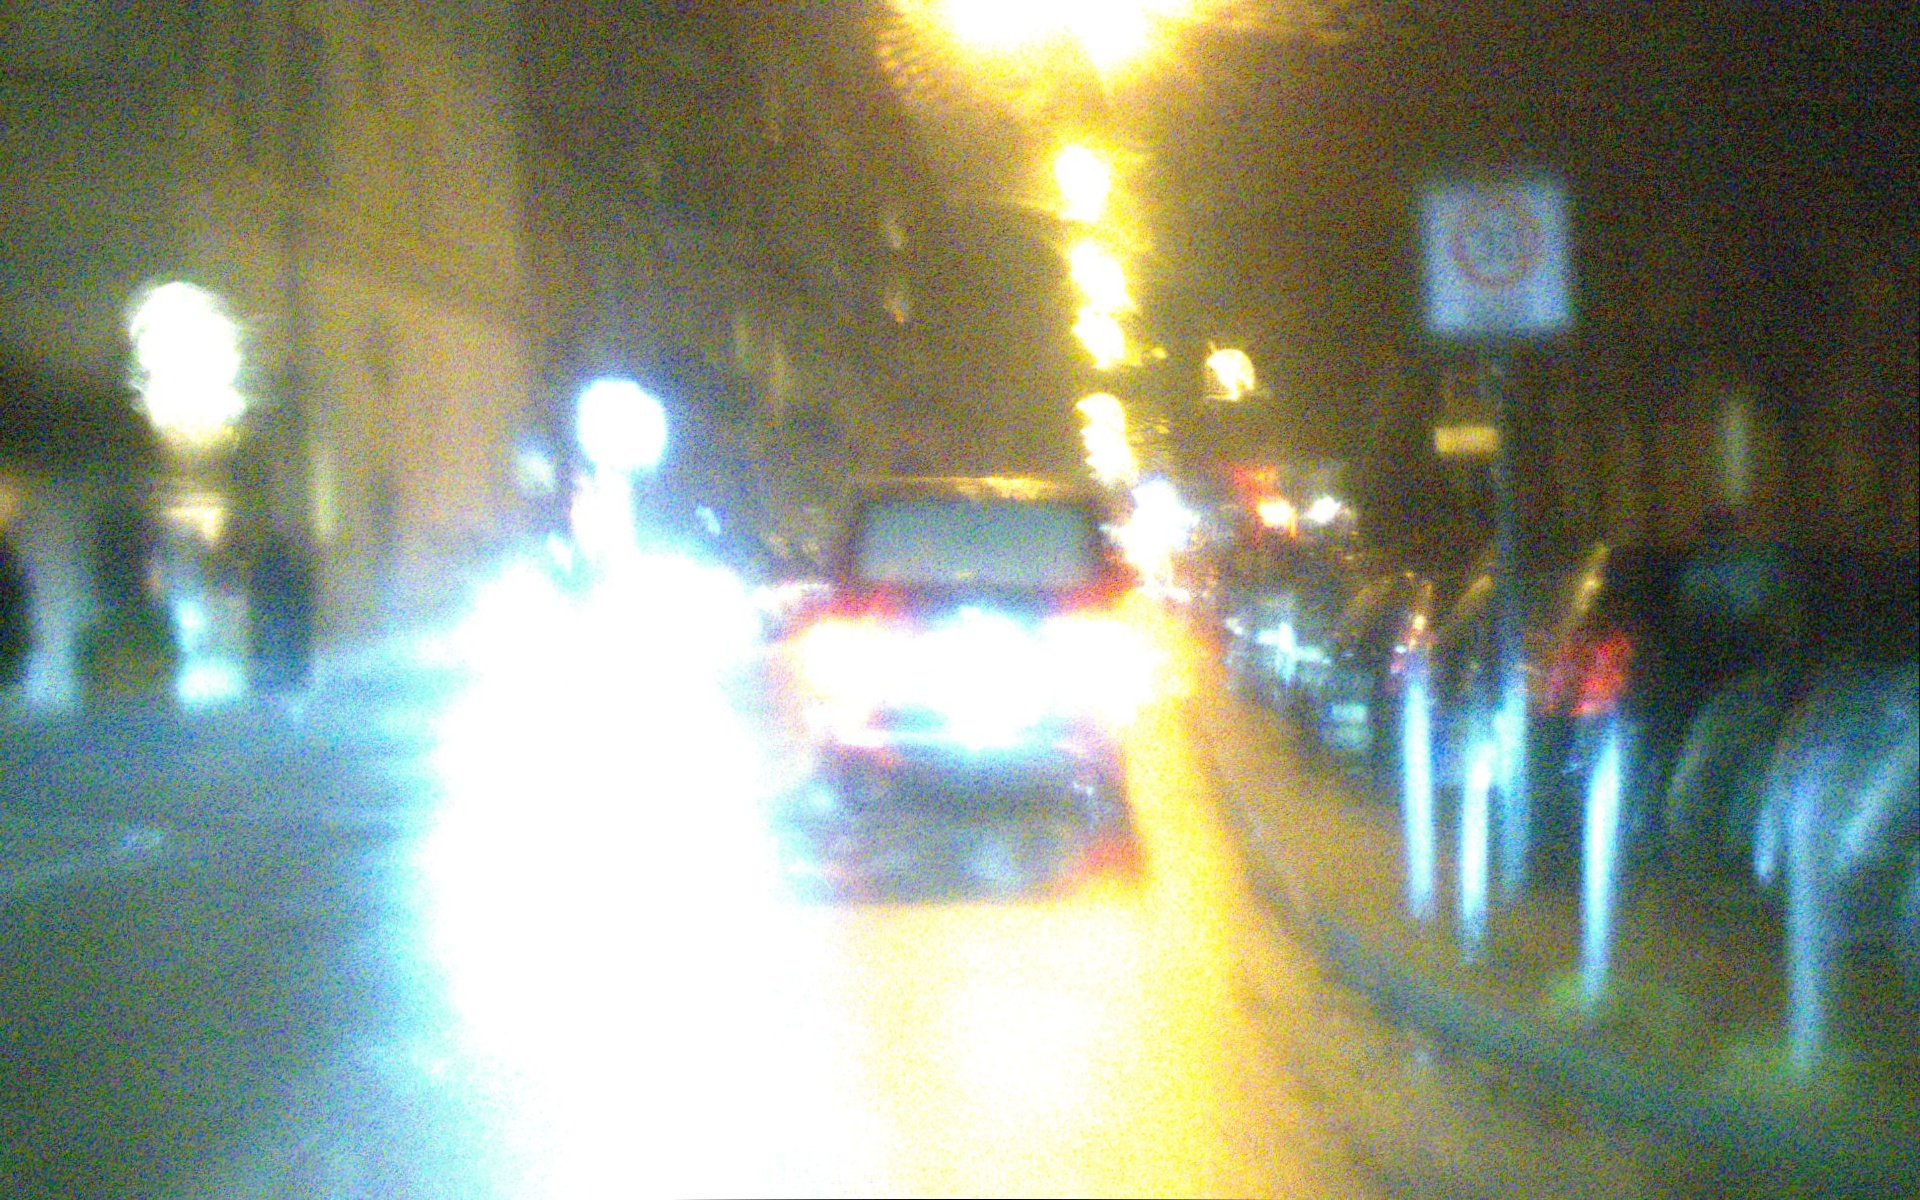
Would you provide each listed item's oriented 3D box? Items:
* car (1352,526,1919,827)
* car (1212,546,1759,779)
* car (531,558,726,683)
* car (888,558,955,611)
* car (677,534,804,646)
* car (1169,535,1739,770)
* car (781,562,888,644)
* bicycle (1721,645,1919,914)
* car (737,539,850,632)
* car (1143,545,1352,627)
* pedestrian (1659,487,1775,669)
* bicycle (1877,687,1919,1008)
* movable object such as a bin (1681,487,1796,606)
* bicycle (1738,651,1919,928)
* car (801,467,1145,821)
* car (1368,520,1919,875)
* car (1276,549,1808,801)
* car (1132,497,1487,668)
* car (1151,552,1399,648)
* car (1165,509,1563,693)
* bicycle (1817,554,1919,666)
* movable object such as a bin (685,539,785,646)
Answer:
[{"bbox_3d":[4.333,0.384,19.878,3.699,1.517,1.657,-3,0,-22],"label":"car"},{"bbox_3d":[3.826,0.427,25.152,3.553,1.605,1.713,0,1,-19],"label":"car"},{"bbox_3d":[-3.781,0.197,39.815,1.654,1.354,4.222,0,1,3],"label":"car"},{"bbox_3d":[-1.081,-0.457,98.426,1.587,1.477,3.792,0,1,4],"label":"car"},{"bbox_3d":[-3.442,-0.178,54.367,1.603,1.700,3.721,0,1,3],"label":"car"},{"bbox_3d":[3.924,0.383,27.400,4.092,1.758,1.859,0,1,-21],"label":"car"},{"bbox_3d":[-2.354,0.035,65.398,1.686,1.450,4.315,1,1,3],"label":"car"},{"bbox_3d":[3.477,0.656,12.898,1.132,0.944,0.267,-4,1,1],"label":"bicycle"},{"bbox_3d":[-2.888,-0.289,60.427,1.603,1.547,4.025,1,1,3],"label":"car"},{"bbox_3d":[5.589,-0.269,66.774,3.671,1.455,1.604,-2,1,-21],"label":"car"},{"bbox_3d":[7.968,-0.223,36.238,0.838,1.829,0.947,-5,-1,-1],"label":"pedestrian"},{"bbox_3d":[3.445,0.724,10.431,1.211,0.944,0.302,-2,0,0],"label":"bicycle"},{"bbox_3d":[10.190,-0.701,45.015,1.209,1.446,0.998,-5,0,3],"label":"movable object such as a bin"},{"bbox_3d":[3.474,0.680,12.625,1.132,0.971,0.249,-3,1,1],"label":"bicycle"},{"bbox_3d":[0.175,0.248,21.910,1.994,2.043,4.000,0,0,3],"label":"car"},{"bbox_3d":[4.059,0.398,16.814,3.699,1.517,1.657,-3,0,-22],"label":"car"},{"bbox_3d":[3.758,0.454,22.309,3.038,1.546,1.505,0,1,-19],"label":"car"},{"bbox_3d":[4.924,-0.268,48.157,4.710,2.240,1.946,-2,0,-33],"label":"car"},{"bbox_3d":[5.497,-0.004,59.846,3.987,1.547,1.804,-2,0,-32],"label":"car"},{"bbox_3d":[4.575,-0.005,38.700,4.234,1.852,1.717,-3,1,-32],"label":"car"},{"bbox_3d":[9.607,0.068,34.209,1.971,1.051,0.510,-3,0,-3],"label":"bicycle"},{"bbox_3d":[-3.136,-0.113,47.977,1.208,1.454,1.107,1,1,5],"label":"movable object such as a bin"}]
